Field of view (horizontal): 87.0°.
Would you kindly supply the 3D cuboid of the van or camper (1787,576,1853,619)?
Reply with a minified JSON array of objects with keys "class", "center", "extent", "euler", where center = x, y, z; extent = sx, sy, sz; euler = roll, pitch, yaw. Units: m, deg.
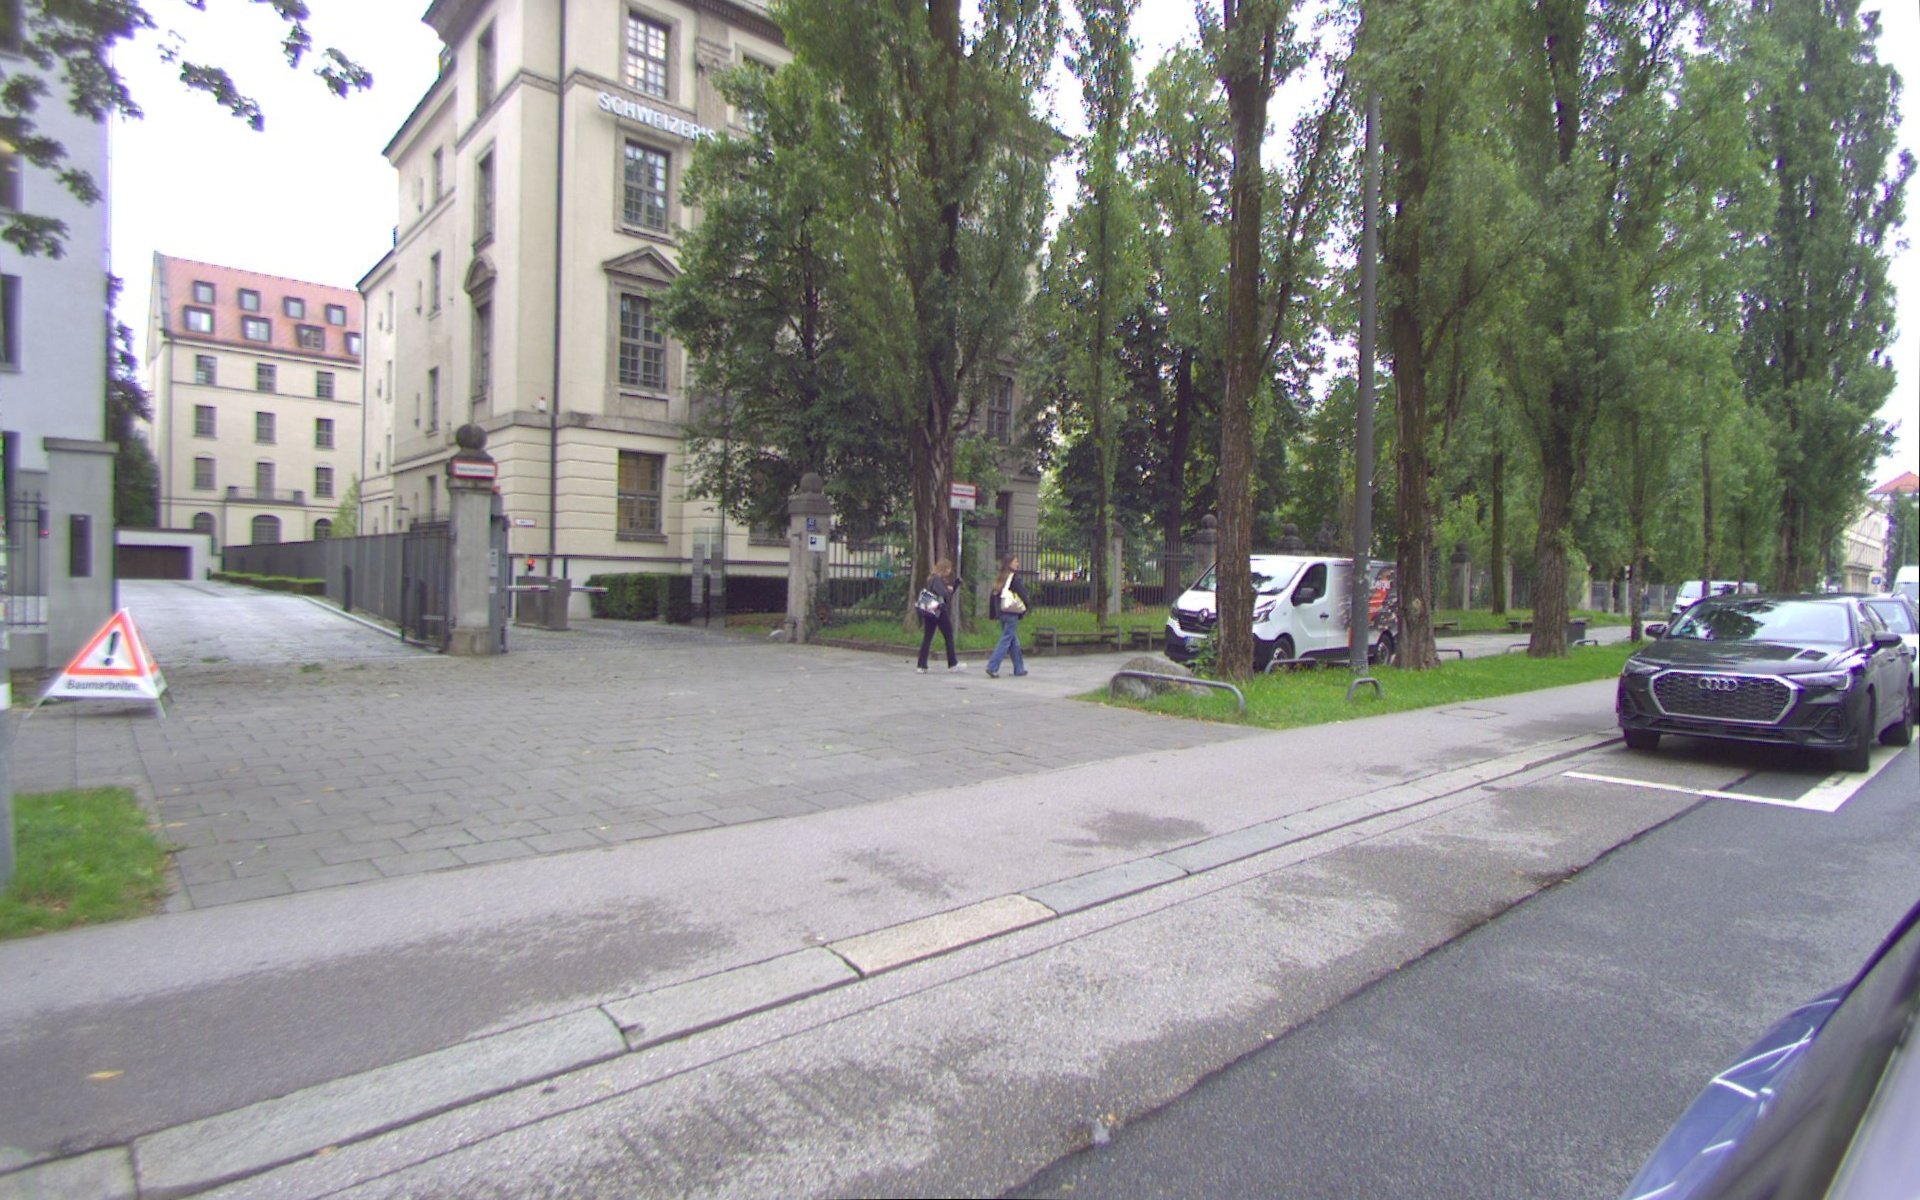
[{"class":"van or camper","center":[43.192,-0.115,50.811],"extent":[4.902,2.039,2.005],"euler":[0,0,-43]}]

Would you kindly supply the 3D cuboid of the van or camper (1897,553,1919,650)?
[{"class":"van or camper","center":[28.209,0.054,28.442],"extent":[6.306,2.572,2.142],"euler":[0,1,-42]}]

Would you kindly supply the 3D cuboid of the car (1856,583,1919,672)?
[{"class":"car","center":[19.545,0.522,20.321],"extent":[4.558,1.638,1.787],"euler":[0,1,-42]}]

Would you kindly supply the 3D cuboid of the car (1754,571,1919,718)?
[{"class":"car","center":[12.426,0.514,13.788],"extent":[4.501,1.696,1.746],"euler":[0,1,-42]}]

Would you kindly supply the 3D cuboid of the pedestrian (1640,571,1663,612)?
[{"class":"pedestrian","center":[35.197,-0.431,51.514],"extent":[0.898,2.038,0.946],"euler":[2,1,33]}]

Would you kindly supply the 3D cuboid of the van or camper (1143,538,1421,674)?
[{"class":"van or camper","center":[5.580,0.080,17.119],"extent":[5.275,1.958,2.080],"euler":[0,0,-41]}]

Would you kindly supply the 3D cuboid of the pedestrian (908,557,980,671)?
[{"class":"pedestrian","center":[-0.228,0.183,14.672],"extent":[0.852,1.598,0.568],"euler":[0,2,-42]}]

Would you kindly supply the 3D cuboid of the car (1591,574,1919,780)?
[{"class":"car","center":[8.028,0.585,9.960],"extent":[4.386,1.560,1.884],"euler":[0,1,-41]}]

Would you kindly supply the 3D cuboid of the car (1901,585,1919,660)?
[{"class":"car","center":[23.440,0.532,23.694],"extent":[4.344,1.669,1.786],"euler":[0,1,-44]}]

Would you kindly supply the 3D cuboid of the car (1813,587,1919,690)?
[{"class":"car","center":[15.942,0.600,17.129],"extent":[4.221,1.539,1.705],"euler":[0,1,-42]}]

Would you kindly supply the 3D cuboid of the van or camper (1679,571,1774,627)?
[{"class":"van or camper","center":[28.887,-0.052,38.078],"extent":[4.952,1.958,1.978],"euler":[0,0,-42]}]

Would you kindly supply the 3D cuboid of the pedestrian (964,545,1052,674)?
[{"class":"pedestrian","center":[0.678,0.112,14.406],"extent":[0.852,1.738,0.855],"euler":[0,2,-42]}]
